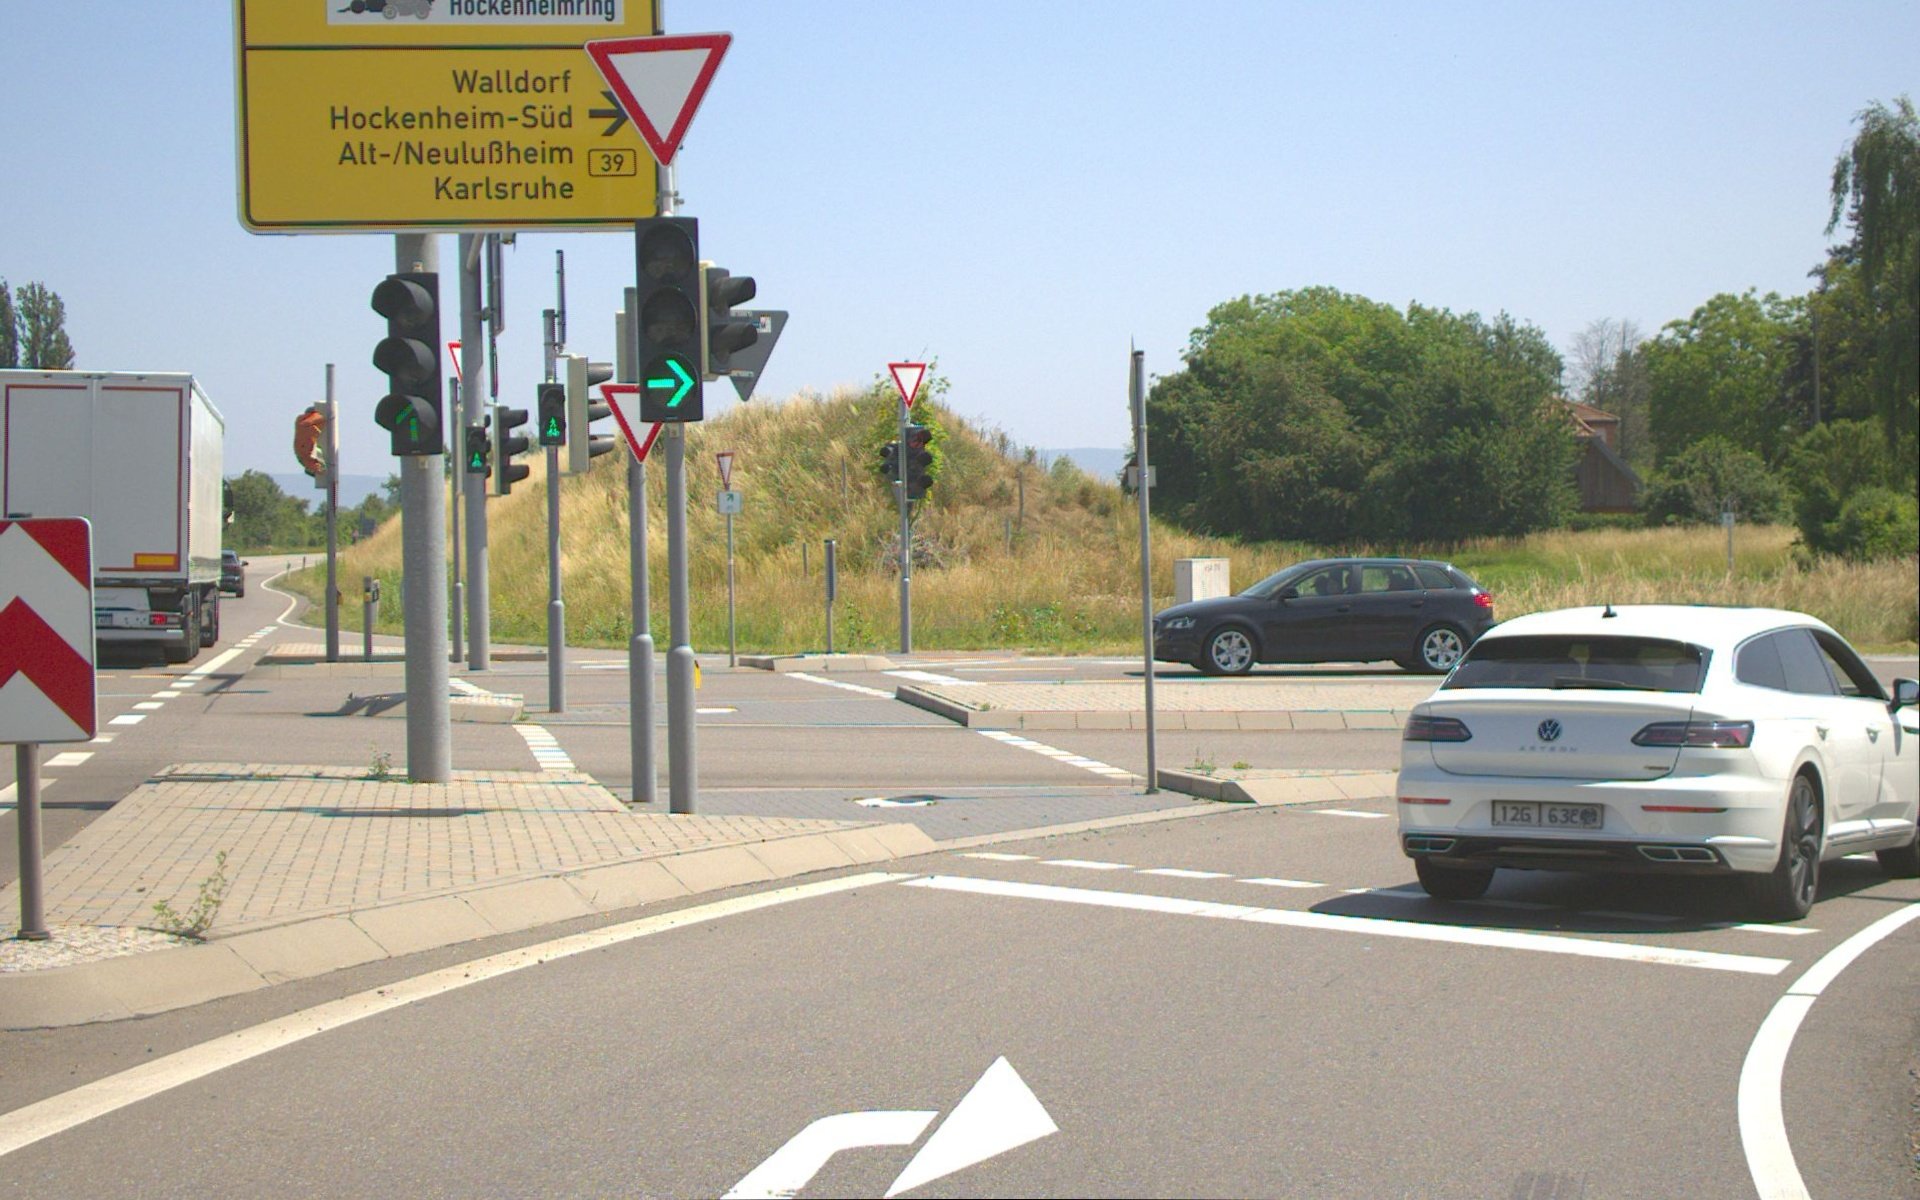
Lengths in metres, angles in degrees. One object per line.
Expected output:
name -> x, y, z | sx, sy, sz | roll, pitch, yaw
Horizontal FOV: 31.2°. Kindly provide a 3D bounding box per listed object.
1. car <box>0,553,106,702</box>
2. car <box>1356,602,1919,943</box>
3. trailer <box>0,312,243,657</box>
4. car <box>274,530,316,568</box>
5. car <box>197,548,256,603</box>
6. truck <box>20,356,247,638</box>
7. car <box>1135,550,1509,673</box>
car -> -10.047, 0.236, 35.769 | 1.784, 1.426, 4.382 | 1, 1, -8
car -> 3.612, 0.735, 17.132 | 1.850, 1.428, 4.602 | 1, 0, 26
trailer -> -12.778, -1.607, 52.025 | 3.380, 4.527, 12.875 | 1, 1, -10
car -> -33.349, -2.559, 172.336 | 1.980, 1.863, 4.468 | 0, 0, -12
car -> -25.573, -0.850, 119.954 | 1.980, 1.887, 4.468 | 0, 0, -12
truck -> -14.042, -1.697, 58.893 | 3.380, 4.527, 6.374 | 1, 1, -10
car -> 4.385, 0.133, 41.991 | 4.259, 1.364, 1.776 | 1, 2, -5
